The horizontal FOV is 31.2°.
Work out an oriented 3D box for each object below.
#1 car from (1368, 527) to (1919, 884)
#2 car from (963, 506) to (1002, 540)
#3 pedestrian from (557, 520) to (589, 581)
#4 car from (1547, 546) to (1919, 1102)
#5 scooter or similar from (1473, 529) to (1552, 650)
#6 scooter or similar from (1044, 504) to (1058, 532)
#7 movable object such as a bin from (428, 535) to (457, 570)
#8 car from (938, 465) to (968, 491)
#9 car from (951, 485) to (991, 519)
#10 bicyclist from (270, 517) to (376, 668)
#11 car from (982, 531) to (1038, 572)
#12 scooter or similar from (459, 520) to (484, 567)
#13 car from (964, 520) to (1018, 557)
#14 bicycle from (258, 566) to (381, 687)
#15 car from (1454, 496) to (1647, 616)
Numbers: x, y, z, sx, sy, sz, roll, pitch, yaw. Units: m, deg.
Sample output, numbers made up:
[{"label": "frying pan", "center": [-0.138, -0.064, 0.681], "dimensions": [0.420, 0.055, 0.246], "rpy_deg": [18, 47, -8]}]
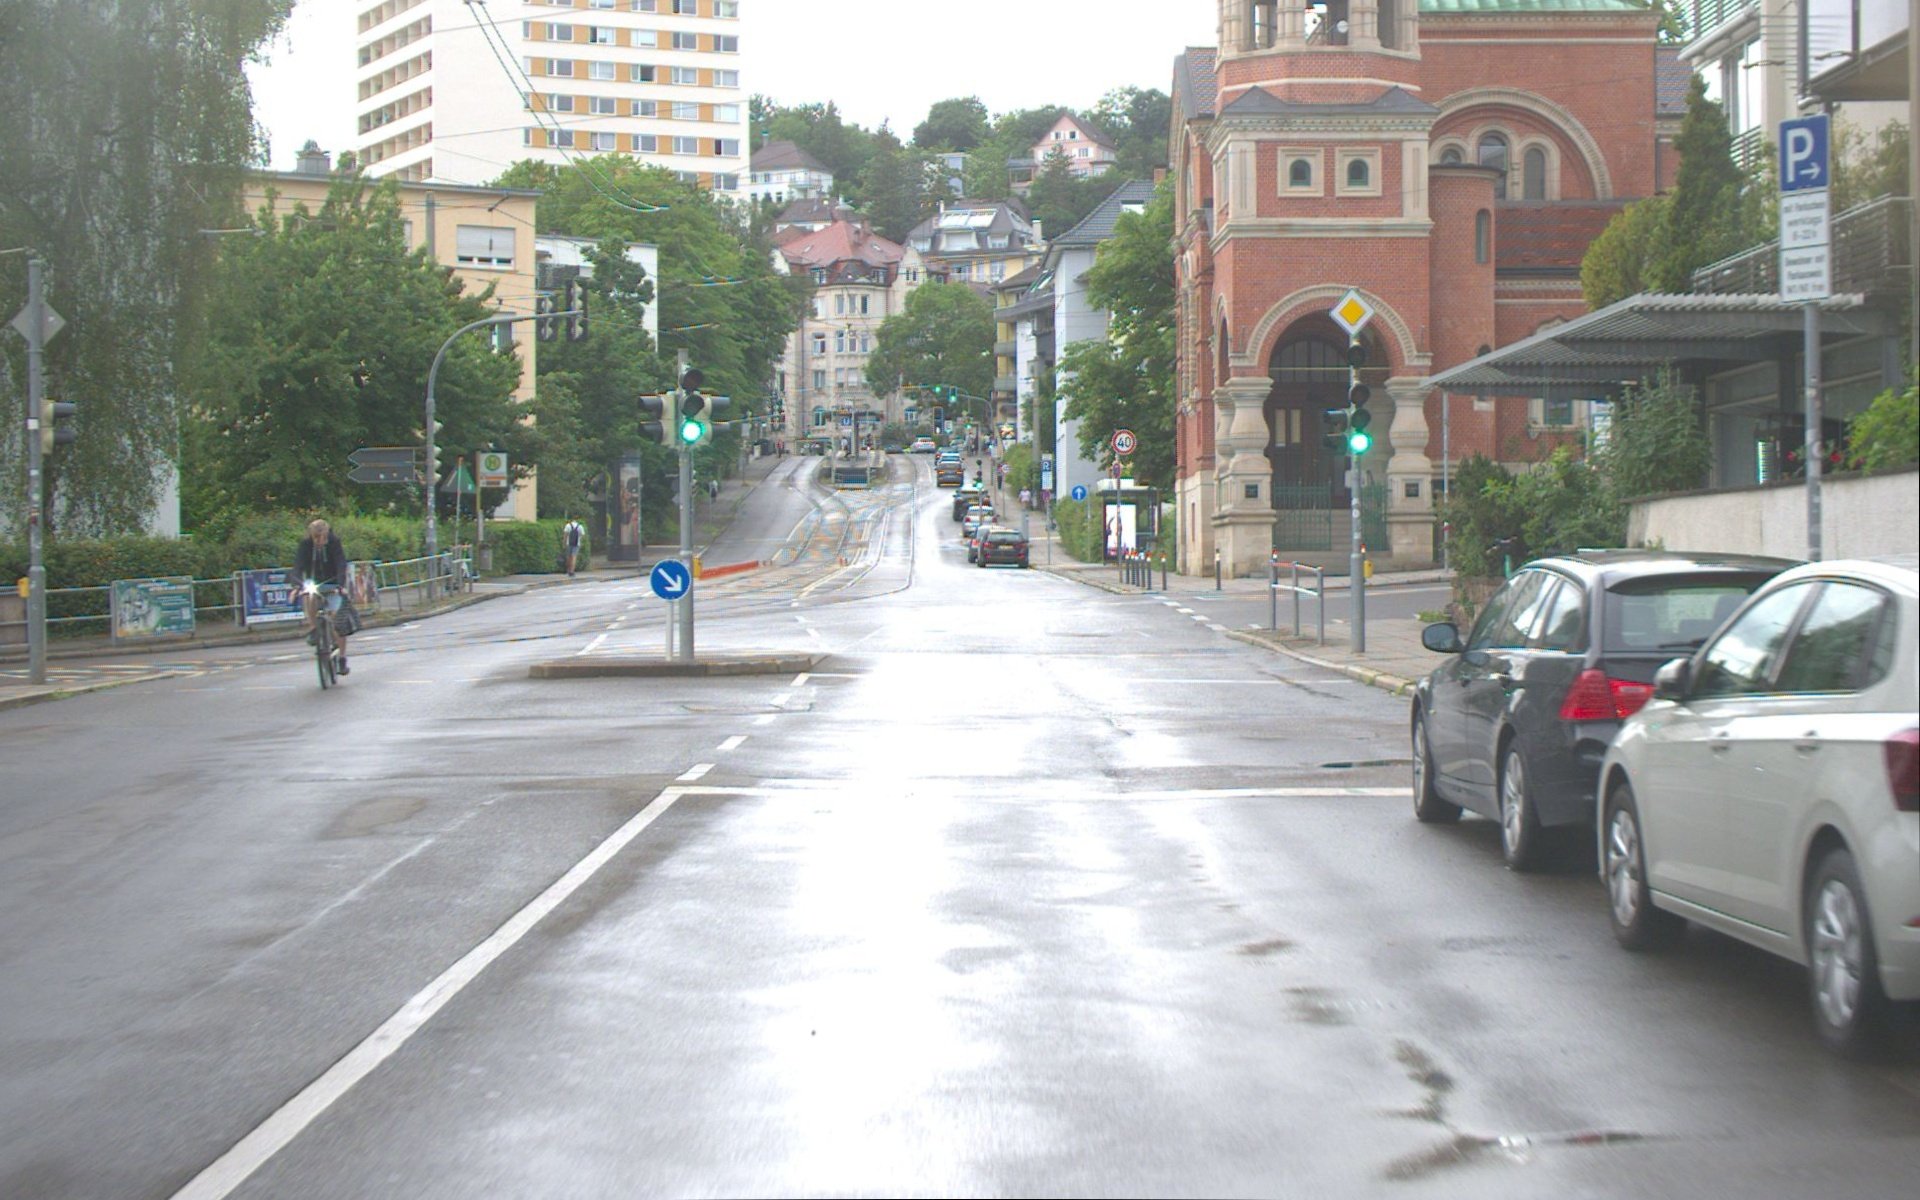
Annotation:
[{"label": "car", "center": [3.135, 0.438, 16.426], "dimensions": [1.730, 1.455, 4.478], "rpy_deg": [1, 0, -1]}, {"label": "car", "center": [1.060, -3.702, 164.812], "dimensions": [1.704, 1.428, 4.103], "rpy_deg": [1, 3, -2]}, {"label": "pedestrian", "center": [-11.881, -1.527, 105.581], "dimensions": [0.918, 1.839, 1.017], "rpy_deg": [1, 0, -5]}, {"label": "car", "center": [3.165, 0.597, 11.092], "dimensions": [1.647, 1.455, 4.103], "rpy_deg": [1, 0, -3]}, {"label": "scooter or similar", "center": [6.354, -0.132, 39.612], "dimensions": [0.534, 1.323, 1.659], "rpy_deg": [-5, 1, 0]}, {"label": "scooter or similar", "center": [4.378, -3.952, 165.459], "dimensions": [0.575, 1.245, 1.610], "rpy_deg": [1, 6, 4]}, {"label": "movable object such as a bin", "center": [-13.107, -1.208, 87.147], "dimensions": [0.686, 0.879, 0.760], "rpy_deg": [1, 0, -6]}, {"label": "car", "center": [-0.445, -7.989, 225.297], "dimensions": [1.802, 1.640, 4.000], "rpy_deg": [1, 2, 1]}, {"label": "car", "center": [0.570, -5.168, 181.183], "dimensions": [1.906, 1.636, 4.691], "rpy_deg": [1, 3, -2]}, {"label": "bicyclist", "center": [-6.281, -0.069, 33.928], "dimensions": [0.824, 1.457, 1.140], "rpy_deg": [1, 0, 0]}, {"label": "car", "center": [1.840, -1.822, 128.332], "dimensions": [1.858, 1.482, 4.645], "rpy_deg": [1, 1, -2]}, {"label": "scooter or similar", "center": [-12.662, -1.449, 89.091], "dimensions": [0.572, 1.180, 1.600], "rpy_deg": [1, 0, -6]}, {"label": "car", "center": [1.249, -2.489, 139.817], "dimensions": [1.939, 1.459, 4.207], "rpy_deg": [1, 1, -3]}, {"label": "bicycle", "center": [-6.280, 0.255, 33.818], "dimensions": [0.824, 1.144, 2.127], "rpy_deg": [0, 0, 0]}, {"label": "car", "center": [8.207, -0.582, 48.158], "dimensions": [1.853, 1.498, 4.449], "rpy_deg": [-3, 0, 0]}]
